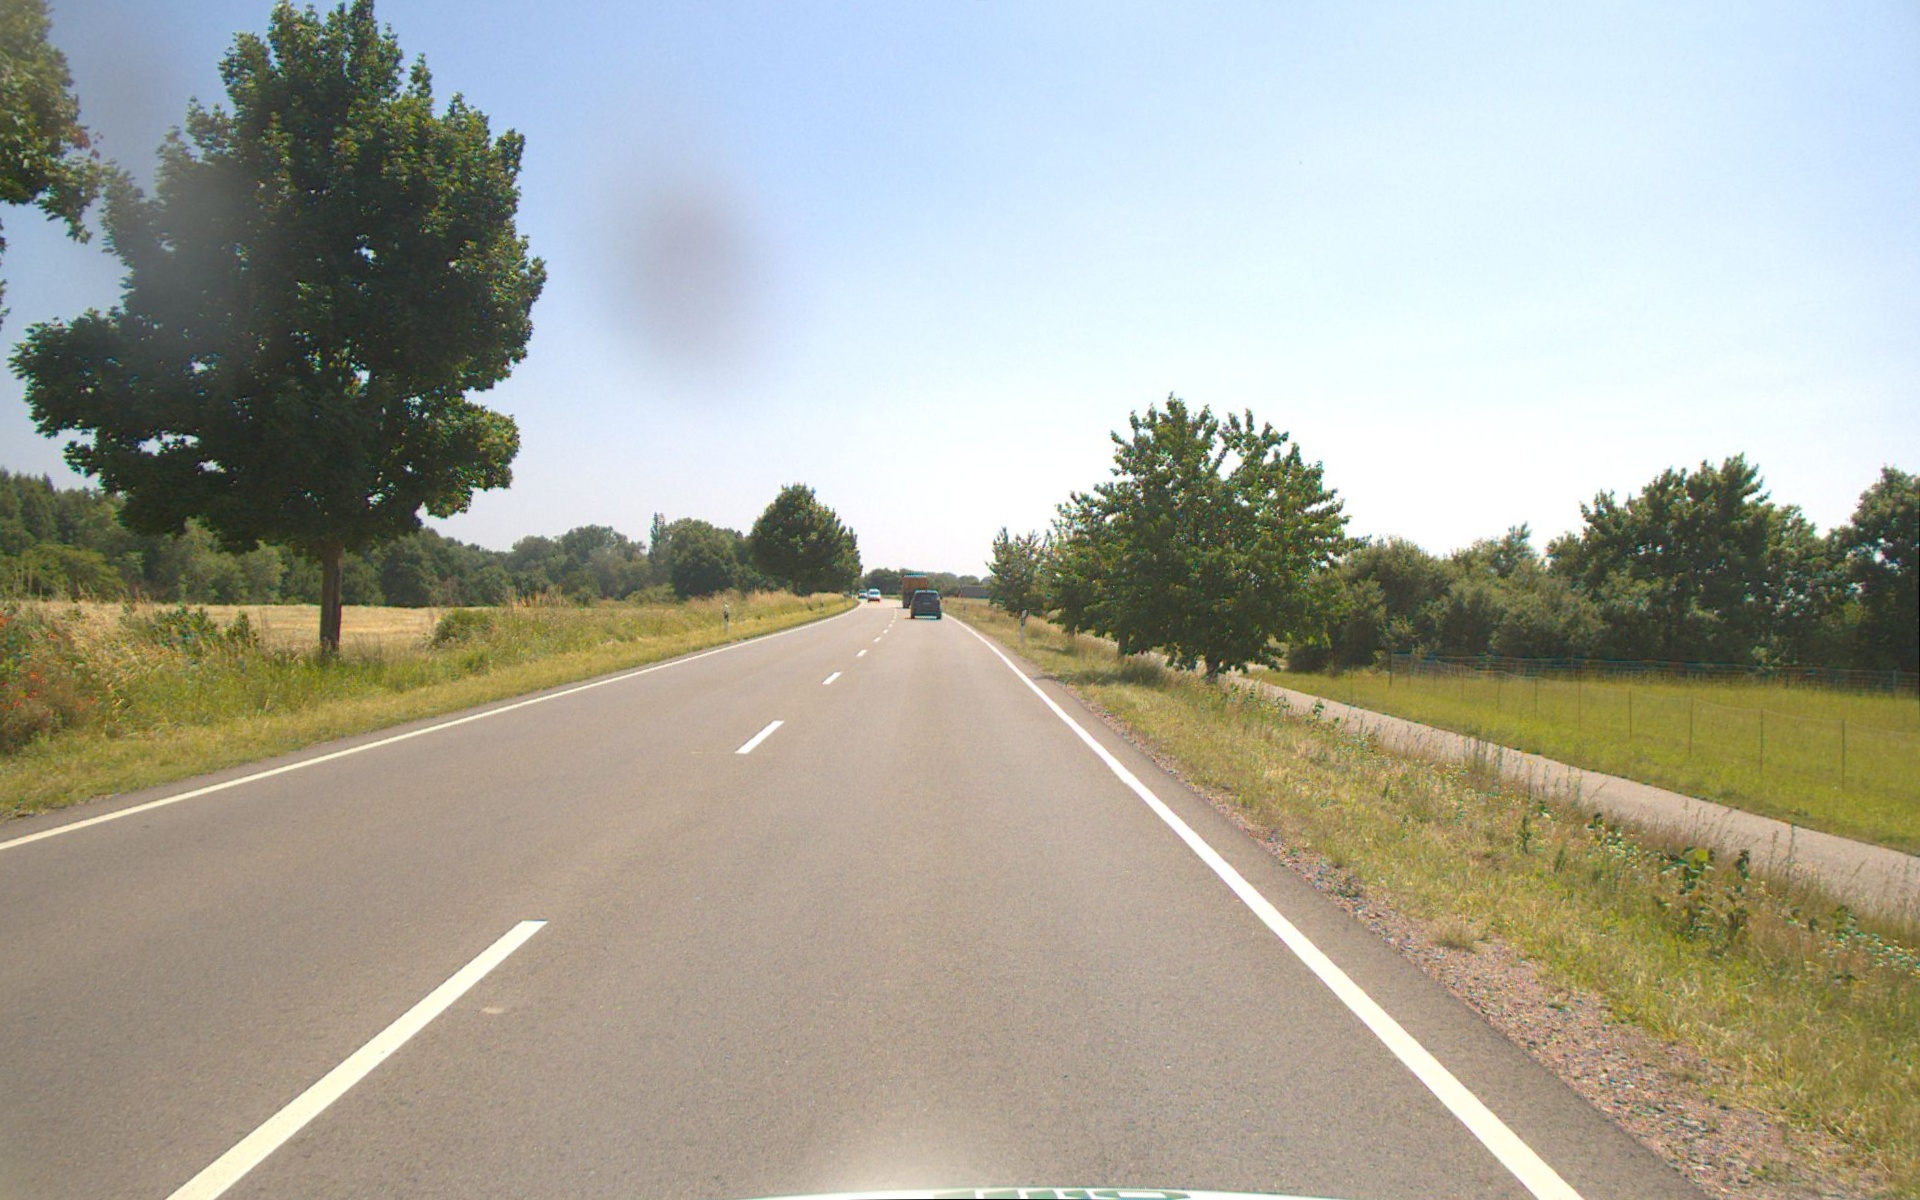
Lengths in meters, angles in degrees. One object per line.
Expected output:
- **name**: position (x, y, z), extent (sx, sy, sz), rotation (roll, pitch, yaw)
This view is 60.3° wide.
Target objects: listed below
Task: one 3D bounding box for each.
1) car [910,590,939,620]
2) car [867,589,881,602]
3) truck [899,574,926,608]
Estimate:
- **car**: position (-2.103, 0.309, 99.483), extent (1.680, 1.723, 3.988), rotation (1, 0, -1)
- **car**: position (-12.222, -0.590, 234.728), extent (1.751, 1.759, 4.303), rotation (1, 0, -2)
- **truck**: position (-4.697, -0.858, 163.567), extent (2.324, 3.195, 8.741), rotation (1, 0, -3)
